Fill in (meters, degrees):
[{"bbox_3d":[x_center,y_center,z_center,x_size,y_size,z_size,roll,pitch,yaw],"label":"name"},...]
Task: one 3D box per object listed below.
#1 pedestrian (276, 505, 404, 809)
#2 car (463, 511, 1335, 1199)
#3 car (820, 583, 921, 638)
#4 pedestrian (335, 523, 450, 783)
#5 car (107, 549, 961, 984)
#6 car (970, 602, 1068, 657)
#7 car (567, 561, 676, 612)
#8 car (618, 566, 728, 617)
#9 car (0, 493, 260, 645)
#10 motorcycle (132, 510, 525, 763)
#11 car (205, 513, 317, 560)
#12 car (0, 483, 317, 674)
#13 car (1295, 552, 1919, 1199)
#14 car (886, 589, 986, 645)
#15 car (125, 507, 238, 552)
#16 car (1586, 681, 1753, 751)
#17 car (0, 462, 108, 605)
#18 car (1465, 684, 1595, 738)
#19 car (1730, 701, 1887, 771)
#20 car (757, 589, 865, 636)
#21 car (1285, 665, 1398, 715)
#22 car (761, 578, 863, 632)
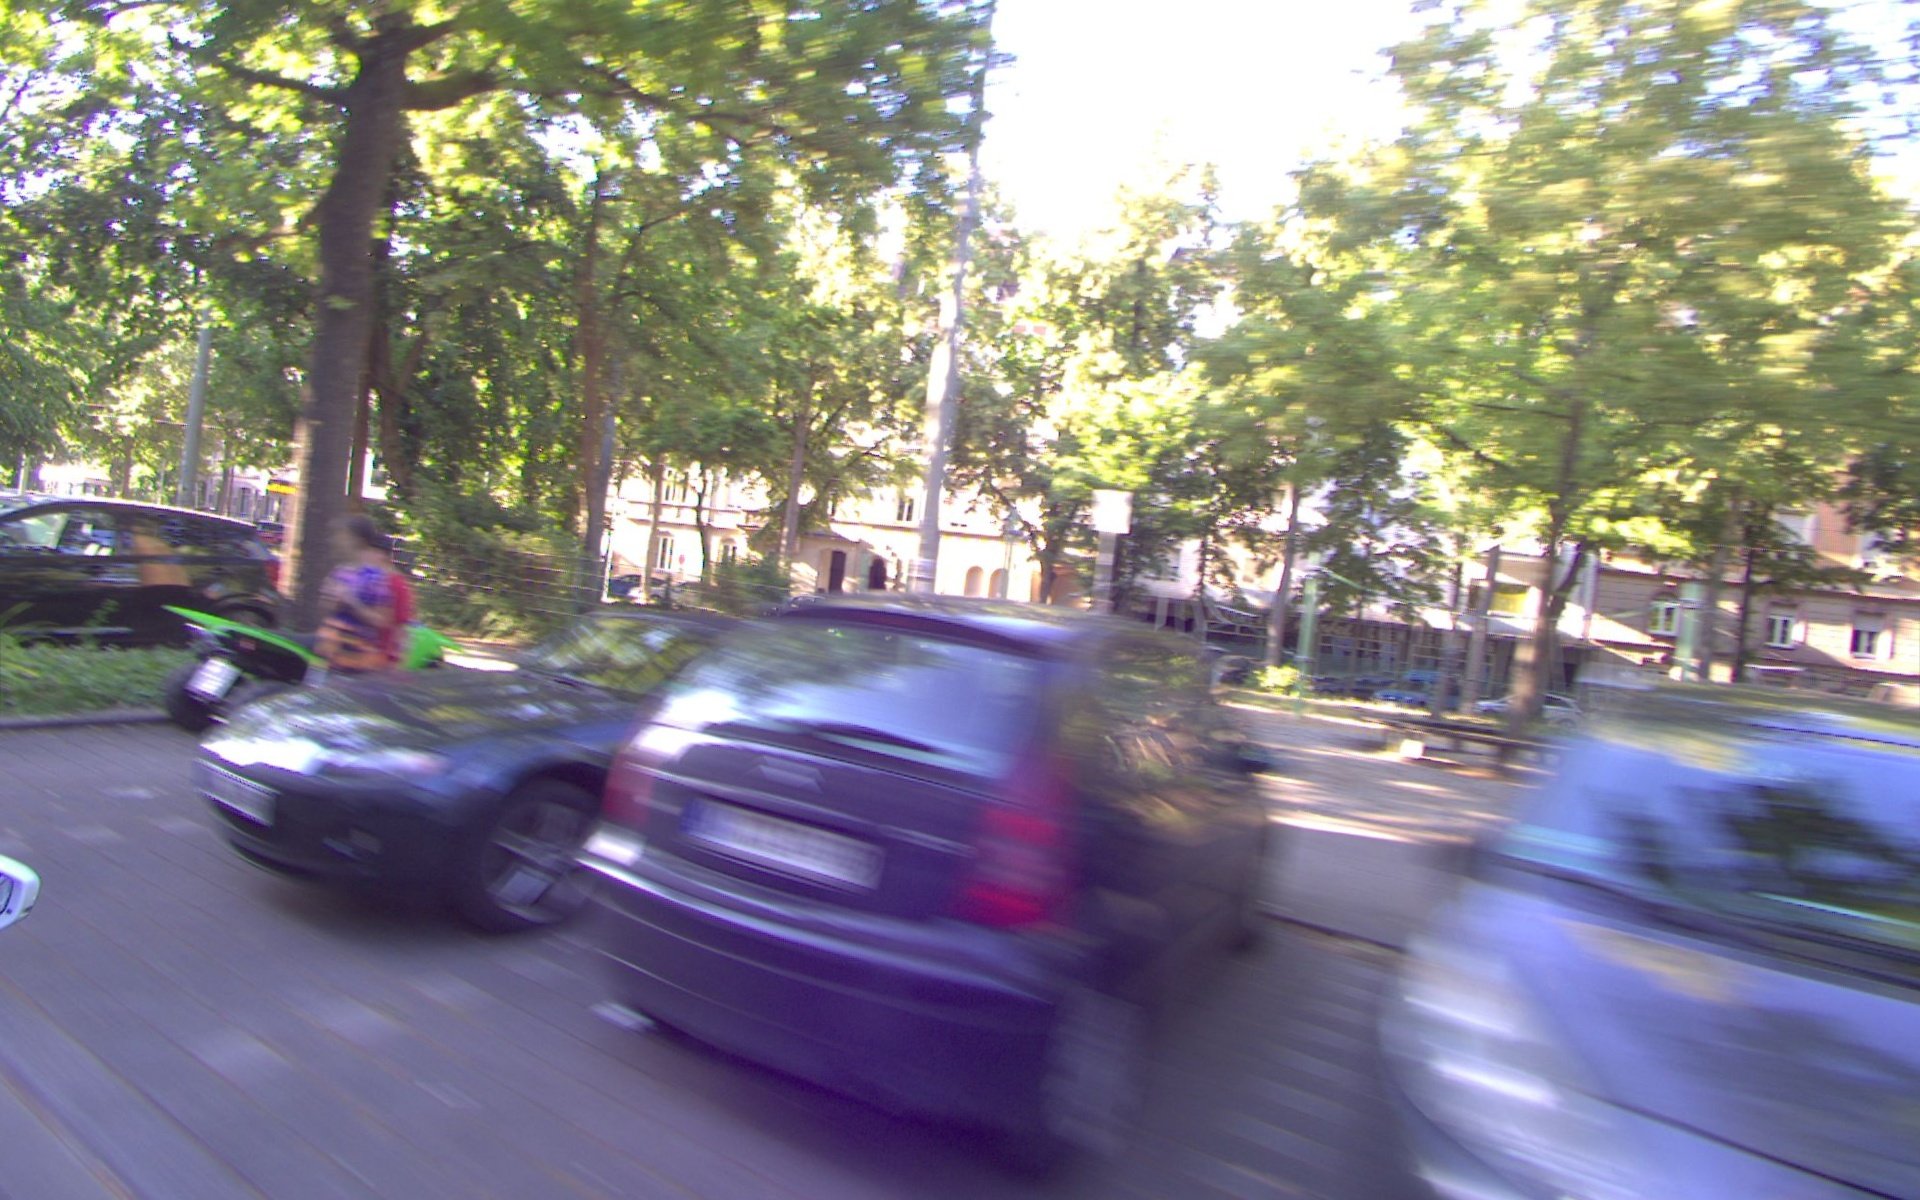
[{"bbox_3d":[-3.464,0.305,5.613,0.378,1.604,0.513,7,2,-39],"label":"pedestrian"},{"bbox_3d":[0.401,0.756,4.497,1.805,1.610,4.409,6,-1,27],"label":"car"},{"bbox_3d":[-3.552,0.464,40.688,1.967,1.703,3.995,5,-3,31],"label":"car"},{"bbox_3d":[-3.532,0.321,6.253,0.378,1.536,0.513,7,2,-39],"label":"pedestrian"},{"bbox_3d":[-1.732,0.645,5.319,1.662,1.295,3.848,6,0,30],"label":"car"},{"bbox_3d":[2.685,1.340,45.426,3.924,2.036,2.002,5,-2,17],"label":"car"},{"bbox_3d":[-14.918,-0.591,44.411,3.971,1.703,1.979,9,-3,-39],"label":"car"},{"bbox_3d":[-12.340,-0.362,43.384,3.971,1.703,1.979,9,-3,-39],"label":"car"},{"bbox_3d":[-10.014,-0.377,10.456,1.731,1.461,4.087,6,0,29],"label":"car"},{"bbox_3d":[-4.338,0.280,7.058,1.243,1.478,1.864,5,-3,33],"label":"motorcycle"},{"bbox_3d":[-37.032,-3.309,53.392,4.673,1.703,1.982,8,-3,-35],"label":"car"},{"bbox_3d":[-8.092,-0.222,8.816,1.733,1.520,3.676,7,1,32],"label":"car"},{"bbox_3d":[2.487,0.952,3.020,1.808,1.610,4.404,6,-1,32],"label":"car"},{"bbox_3d":[-0.875,0.699,39.568,1.967,1.703,3.995,5,-3,31],"label":"car"},{"bbox_3d":[-42.702,-3.830,55.342,4.675,1.703,1.982,8,-3,-36],"label":"car"},{"bbox_3d":[26.940,4.371,38.343,4.648,2.036,2.003,6,-2,11],"label":"car"},{"bbox_3d":[-14.346,-1.062,13.358,1.733,1.888,4.222,7,1,32],"label":"car"},{"bbox_3d":[22.464,4.352,39.791,3.923,1.569,2.003,6,-3,11],"label":"car"},{"bbox_3d":[31.757,5.046,37.776,3.923,2.036,2.003,6,-2,11],"label":"car"},{"bbox_3d":[-7.251,0.617,48.989,4.650,1.706,2.002,5,-3,18],"label":"car"},{"bbox_3d":[15.697,3.701,41.583,3.923,1.569,2.003,6,-3,11],"label":"car"},{"bbox_3d":[-6.055,0.240,41.673,1.967,1.703,3.995,5,-3,31],"label":"car"}]
